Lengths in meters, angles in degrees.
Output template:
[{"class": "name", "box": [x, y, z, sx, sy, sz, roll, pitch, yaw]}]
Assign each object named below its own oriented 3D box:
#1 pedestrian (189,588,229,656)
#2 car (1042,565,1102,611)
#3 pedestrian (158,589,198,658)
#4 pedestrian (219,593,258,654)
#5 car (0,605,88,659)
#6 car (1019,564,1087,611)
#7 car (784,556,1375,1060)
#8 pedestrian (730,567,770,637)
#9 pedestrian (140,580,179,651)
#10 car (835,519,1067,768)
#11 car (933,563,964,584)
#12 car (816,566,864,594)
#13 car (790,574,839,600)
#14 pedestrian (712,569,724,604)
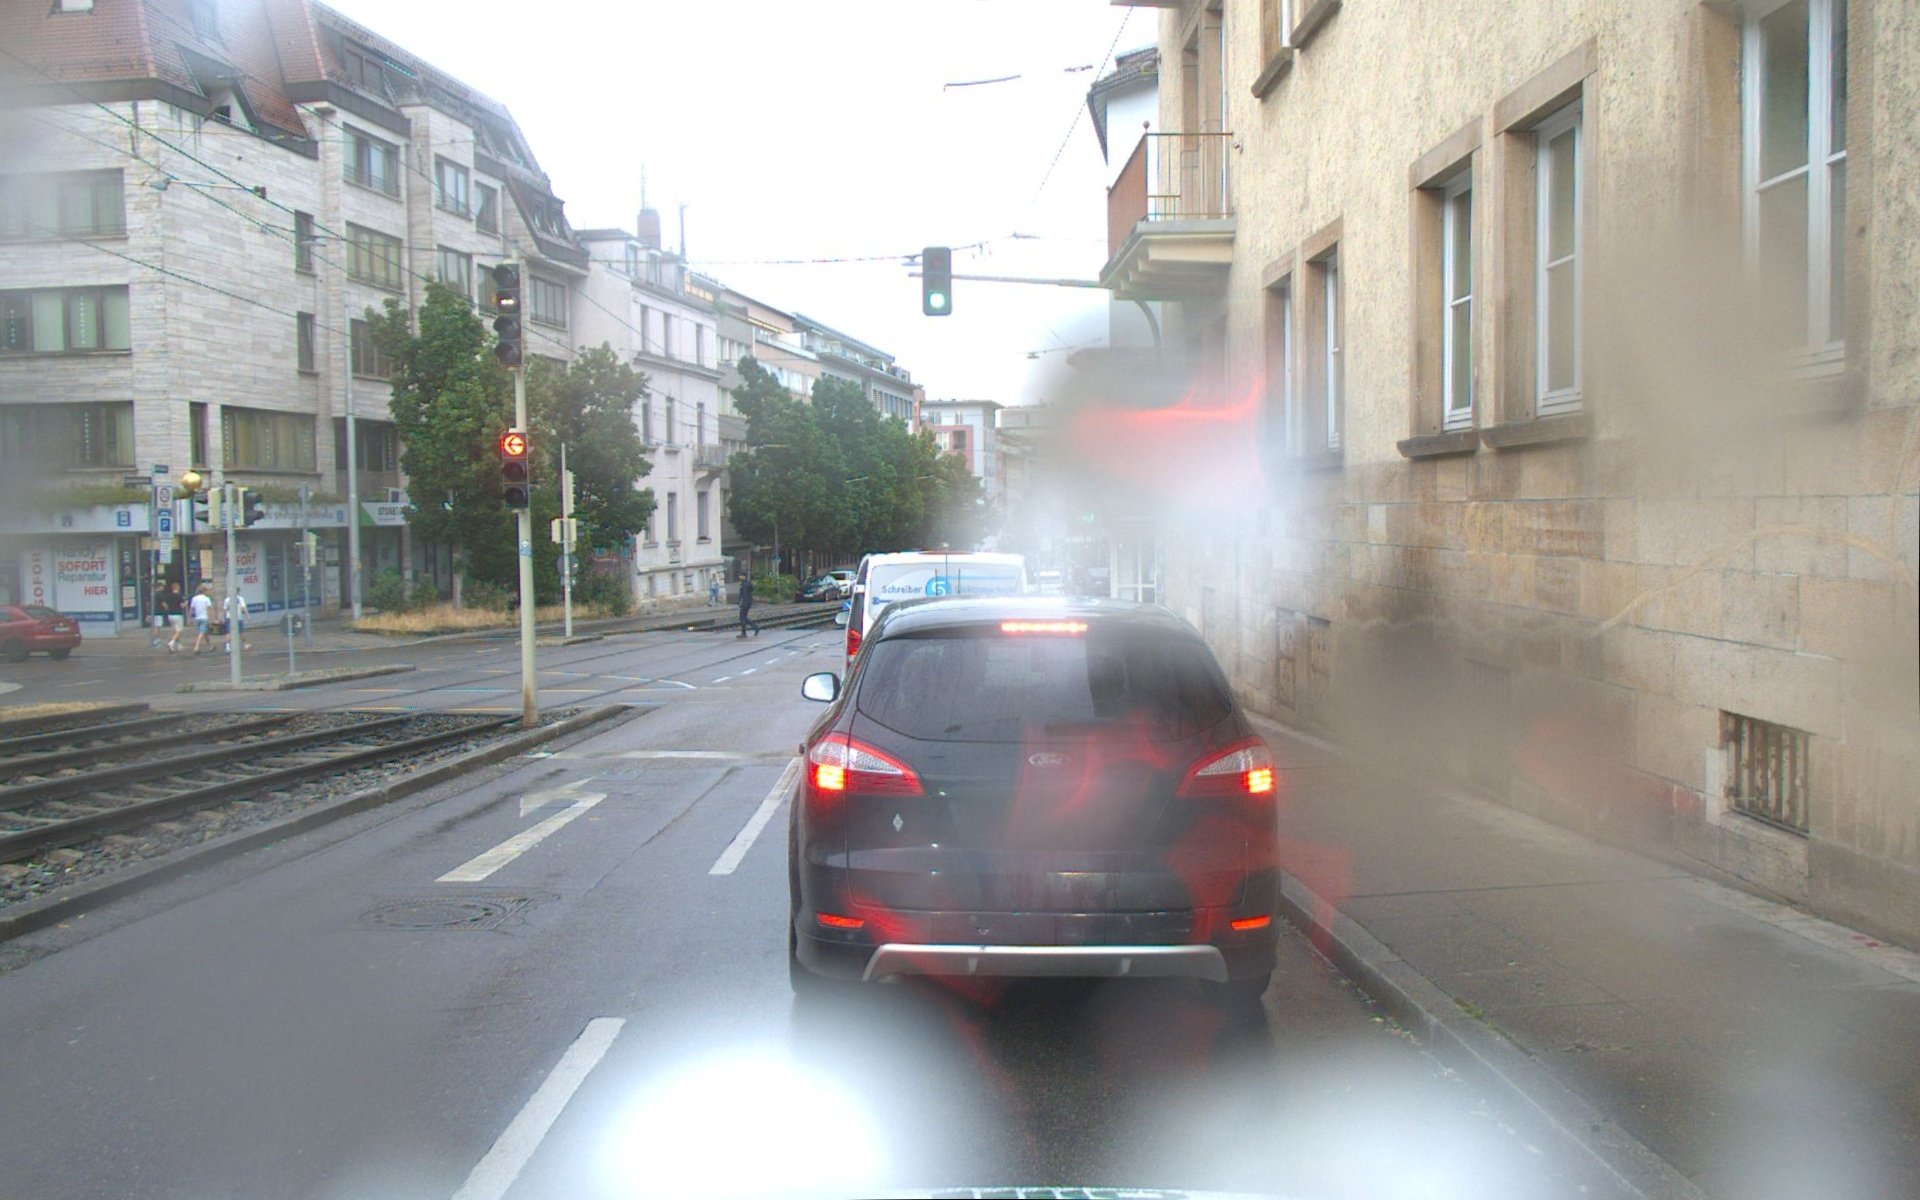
[{"class": "pedestrian", "box": [-19.710, 0.576, 43.413, 0.634, 1.754, 0.684, 1, 0, 7]}, {"class": "car", "box": [4.309, -0.448, 63.108, 1.806, 1.661, 4.590, -1, 0, 9]}, {"class": "pedestrian", "box": [-20.589, 0.606, 43.562, 0.634, 1.780, 0.684, 1, 0, 7]}, {"class": "pedestrian", "box": [-18.946, 0.610, 43.424, 0.634, 1.576, 0.684, 1, 0, 7]}, {"class": "car", "box": [-24.396, 0.811, 42.191, 3.614, 1.341, 1.595, -1, 0, 11]}, {"class": "car", "box": [3.187, -0.412, 55.908, 1.763, 1.481, 4.590, -2, 0, 9]}, {"class": "car", "box": [0.338, 0.644, 7.094, 1.805, 1.533, 3.999, 1, 0, -1]}, {"class": "pedestrian", "box": [-5.688, 0.048, 44.834, 0.911, 1.862, 0.960, 1, 0, 1]}, {"class": "pedestrian", "box": [-21.543, 0.405, 44.539, 0.634, 1.875, 0.684, 1, 0, 7]}, {"class": "car", "box": [-0.144, 0.370, 16.417, 1.948, 2.096, 4.643, 1, 0, -2]}, {"class": "car", "box": [-0.973, -2.250, 139.793, 1.816, 1.665, 4.939, 0, 0, 9]}, {"class": "car", "box": [-7.185, -1.180, 99.531, 1.816, 1.575, 4.725, 0, 0, 9]}, {"class": "car", "box": [-8.186, -0.738, 93.618, 1.657, 1.401, 4.725, 0, 0, 9]}, {"class": "pedestrian", "box": [-11.684, -0.645, 79.816, 0.458, 1.681, 0.582, 1, 0, -3]}]
